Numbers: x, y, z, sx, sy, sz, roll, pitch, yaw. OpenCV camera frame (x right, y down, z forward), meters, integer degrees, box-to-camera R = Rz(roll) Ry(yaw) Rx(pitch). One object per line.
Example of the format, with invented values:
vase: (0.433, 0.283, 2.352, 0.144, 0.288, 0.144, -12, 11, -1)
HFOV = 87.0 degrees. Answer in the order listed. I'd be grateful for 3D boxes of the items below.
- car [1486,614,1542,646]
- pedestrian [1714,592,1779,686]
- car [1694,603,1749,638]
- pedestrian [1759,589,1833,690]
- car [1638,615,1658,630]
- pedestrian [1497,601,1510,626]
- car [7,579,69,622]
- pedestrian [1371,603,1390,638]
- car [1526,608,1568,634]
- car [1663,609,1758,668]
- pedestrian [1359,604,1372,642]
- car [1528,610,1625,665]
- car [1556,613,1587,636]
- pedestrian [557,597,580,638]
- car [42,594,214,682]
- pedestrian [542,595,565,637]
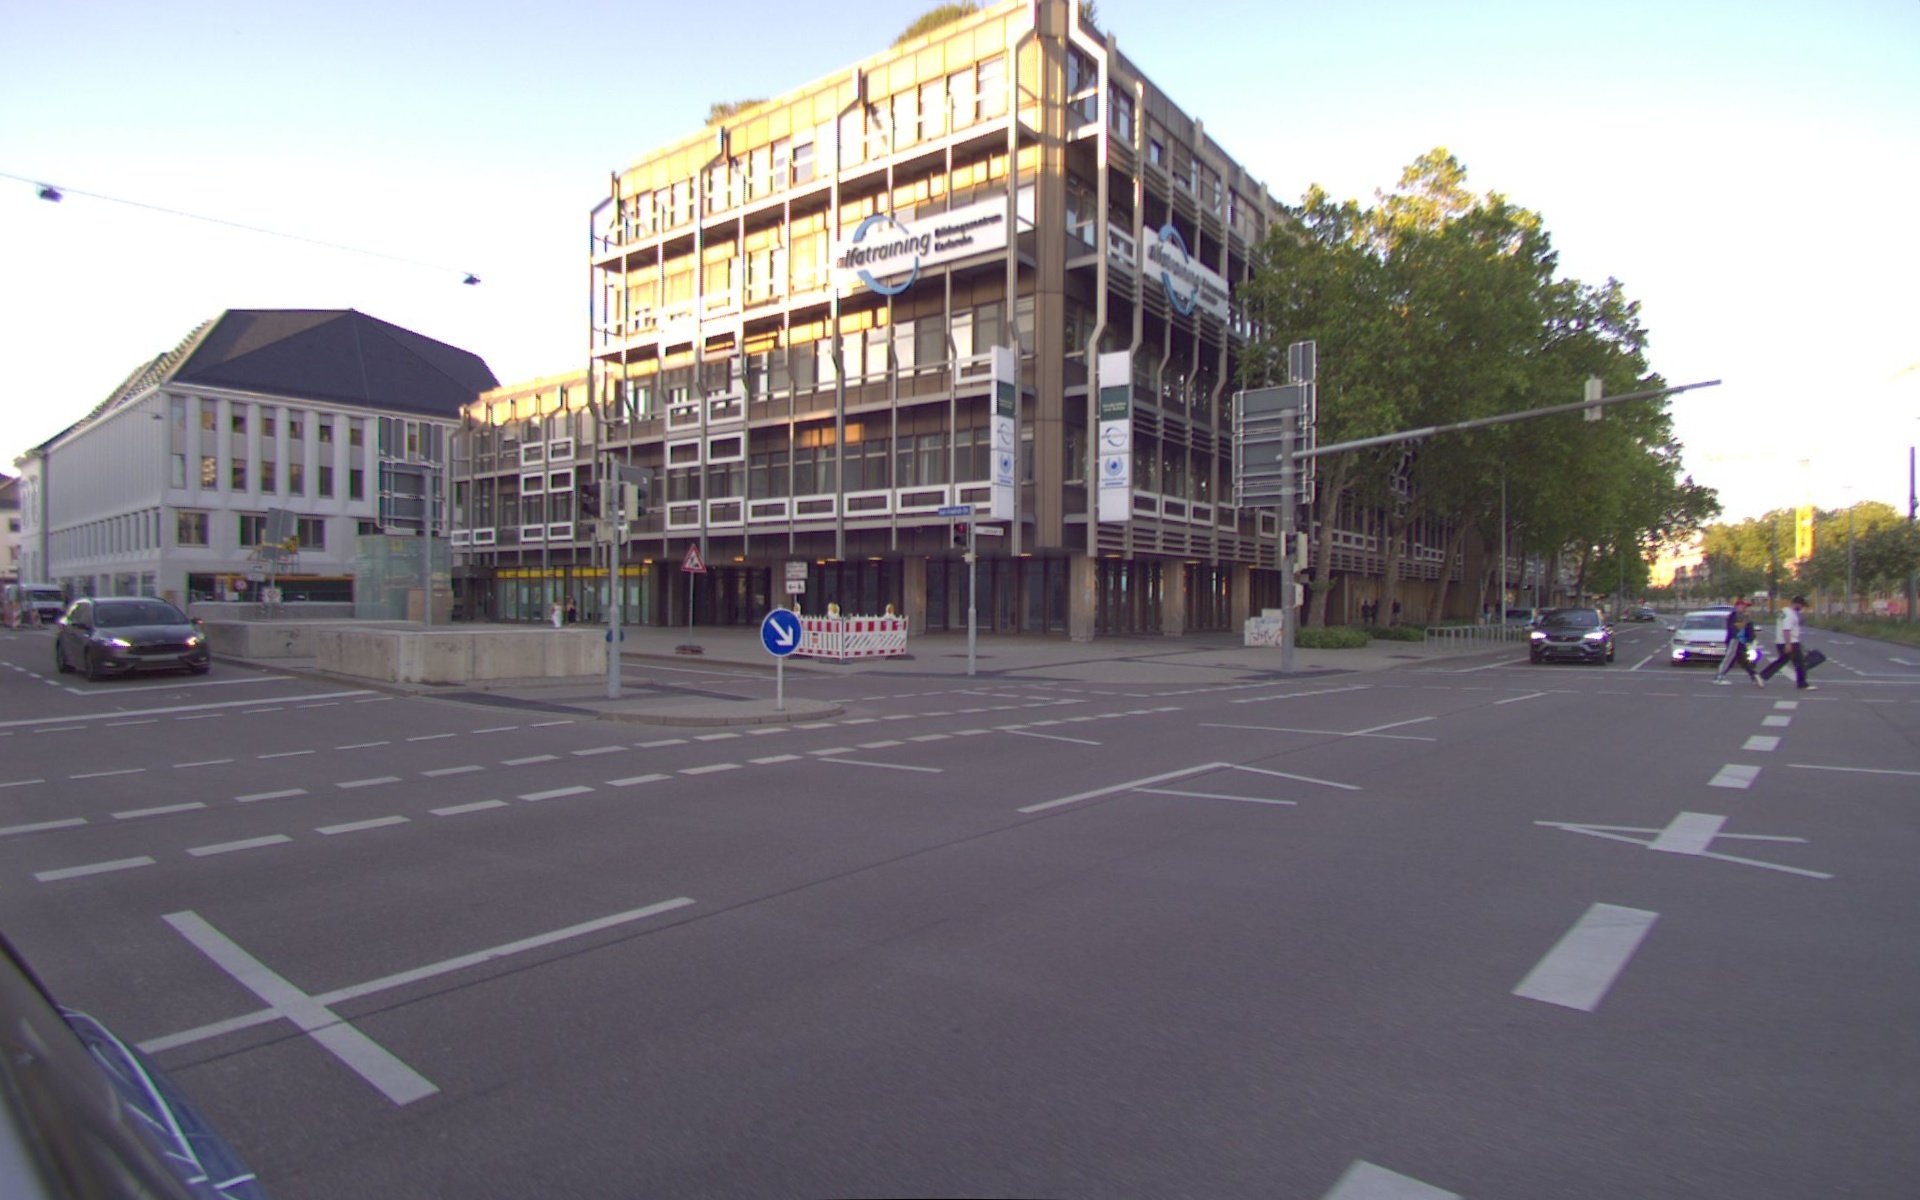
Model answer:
car: (28.952, 1.537, 52.825, 1.740, 1.596, 4.530, -1, -1, 39)
pedestrian: (15.013, 0.725, 19.348, 0.957, 1.734, 0.813, 0, 0, 36)
car: (36.036, 0.961, 47.962, 1.847, 1.596, 4.537, -1, -1, 34)
pedestrian: (14.887, 0.677, 18.044, 0.957, 1.734, 0.813, 0, 0, 36)
car: (75.552, 2.425, 111.162, 1.737, 1.596, 4.539, -1, -1, 33)
pedestrian: (40.977, 1.027, 76.344, 0.755, 1.819, 0.714, 1, 2, 36)
car: (-57.706, 0.014, 63.302, 6.046, 2.575, 2.114, 0, 0, 41)
pedestrian: (22.665, 1.094, 54.538, 0.755, 1.819, 0.714, 1, 2, 36)
car: (36.843, 1.320, 63.502, 1.740, 1.596, 3.747, -1, -1, 38)
car: (20.621, 1.000, 27.739, 1.850, 1.468, 4.530, -1, -1, 39)
pedestrian: (22.192, 1.240, 55.355, 0.516, 2.028, 0.575, 1, 2, 36)
car: (17.785, 1.039, 29.108, 1.850, 1.468, 3.900, -1, -1, 39)
car: (43.885, 1.713, 72.623, 1.737, 1.596, 4.539, -1, -1, 33)
pedestrian: (-15.818, 0.696, 40.886, 0.702, 1.651, 0.608, 0, 0, 40)
car: (-16.046, 0.638, 19.437, 4.376, 1.473, 1.740, 0, 1, 40)
pedestrian: (-16.214, 0.638, 40.375, 0.583, 1.651, 0.662, 0, 0, 40)
